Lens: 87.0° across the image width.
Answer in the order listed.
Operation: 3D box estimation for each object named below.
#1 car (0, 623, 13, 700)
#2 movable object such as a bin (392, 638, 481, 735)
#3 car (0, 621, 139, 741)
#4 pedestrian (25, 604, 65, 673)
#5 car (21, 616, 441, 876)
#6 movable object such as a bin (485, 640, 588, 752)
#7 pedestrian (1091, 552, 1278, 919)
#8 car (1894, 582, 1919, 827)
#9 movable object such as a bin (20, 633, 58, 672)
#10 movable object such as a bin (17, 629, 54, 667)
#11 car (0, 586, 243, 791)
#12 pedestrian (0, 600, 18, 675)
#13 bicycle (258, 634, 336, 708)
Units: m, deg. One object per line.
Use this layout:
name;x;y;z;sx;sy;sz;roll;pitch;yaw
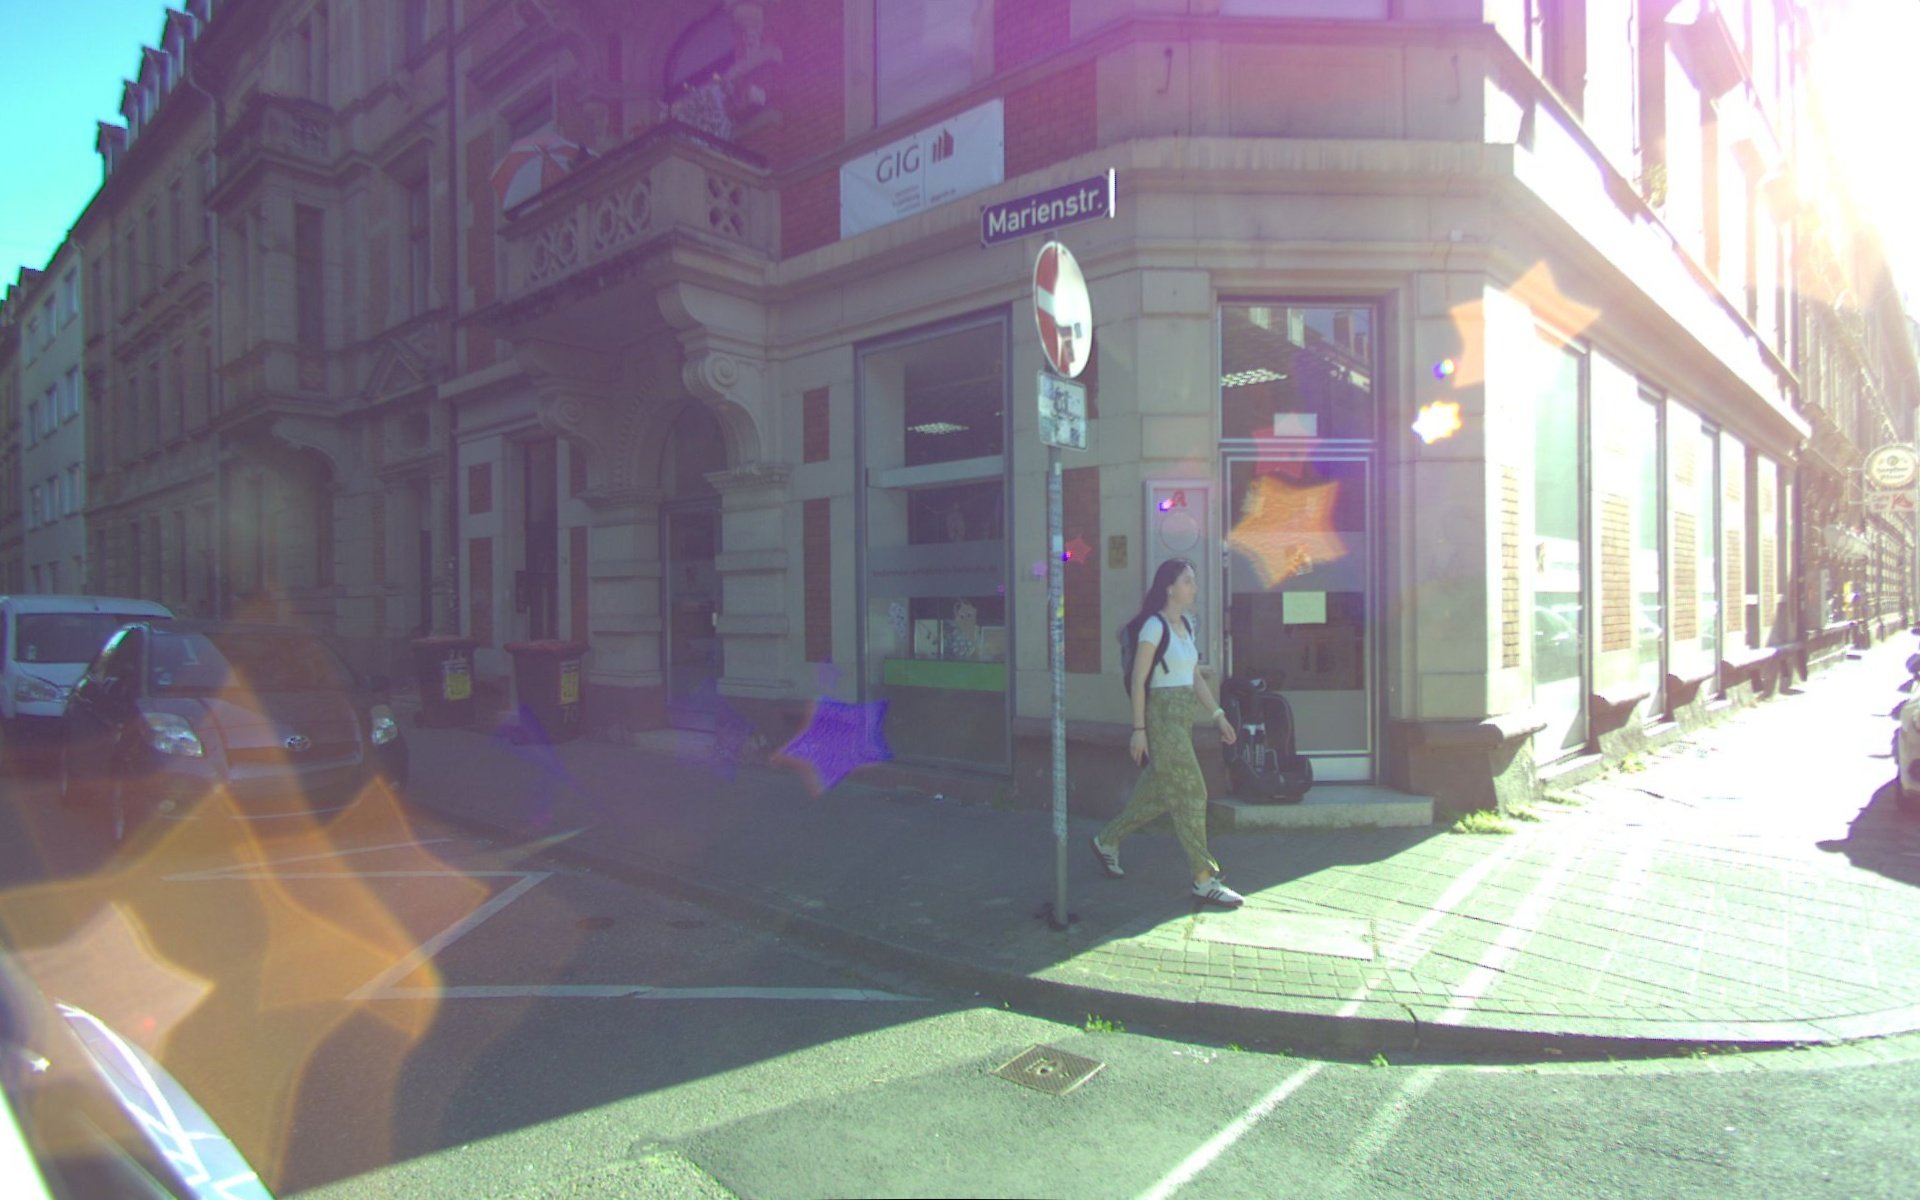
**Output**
car;-20.946;1.219;20.723;4.190;1.525;1.748;-1;-3;40
movable object such as a bin;-6.168;0.994;11.926;0.855;1.049;0.631;-1;1;40
car;-13.439;1.076;14.533;3.967;1.525;1.676;-1;-3;38
pedestrian;-24.162;1.002;26.734;0.648;1.785;0.694;0;1;40
car;-5.725;0.895;7.769;3.970;1.492;1.675;-1;-3;40
movable object such as a bin;-4.377;0.967;10.460;0.855;1.049;0.631;-1;1;40
pedestrian;1.107;0.602;5.002;0.717;1.656;0.542;2;2;40
car;8.201;0.682;7.303;4.375;1.542;1.869;0;2;-44
movable object such as a bin;-27.122;1.537;29.804;0.666;1.096;0.791;0;0;44
movable object such as a bin;-27.710;1.435;30.334;0.666;1.096;0.791;0;0;44
car;-9.716;0.848;11.194;4.569;1.825;1.812;-1;-3;41
pedestrian;-24.835;0.966;26.170;0.904;1.896;0.573;0;1;41
bicycle;-10.237;1.067;15.615;1.545;1.049;0.565;-1;1;41
